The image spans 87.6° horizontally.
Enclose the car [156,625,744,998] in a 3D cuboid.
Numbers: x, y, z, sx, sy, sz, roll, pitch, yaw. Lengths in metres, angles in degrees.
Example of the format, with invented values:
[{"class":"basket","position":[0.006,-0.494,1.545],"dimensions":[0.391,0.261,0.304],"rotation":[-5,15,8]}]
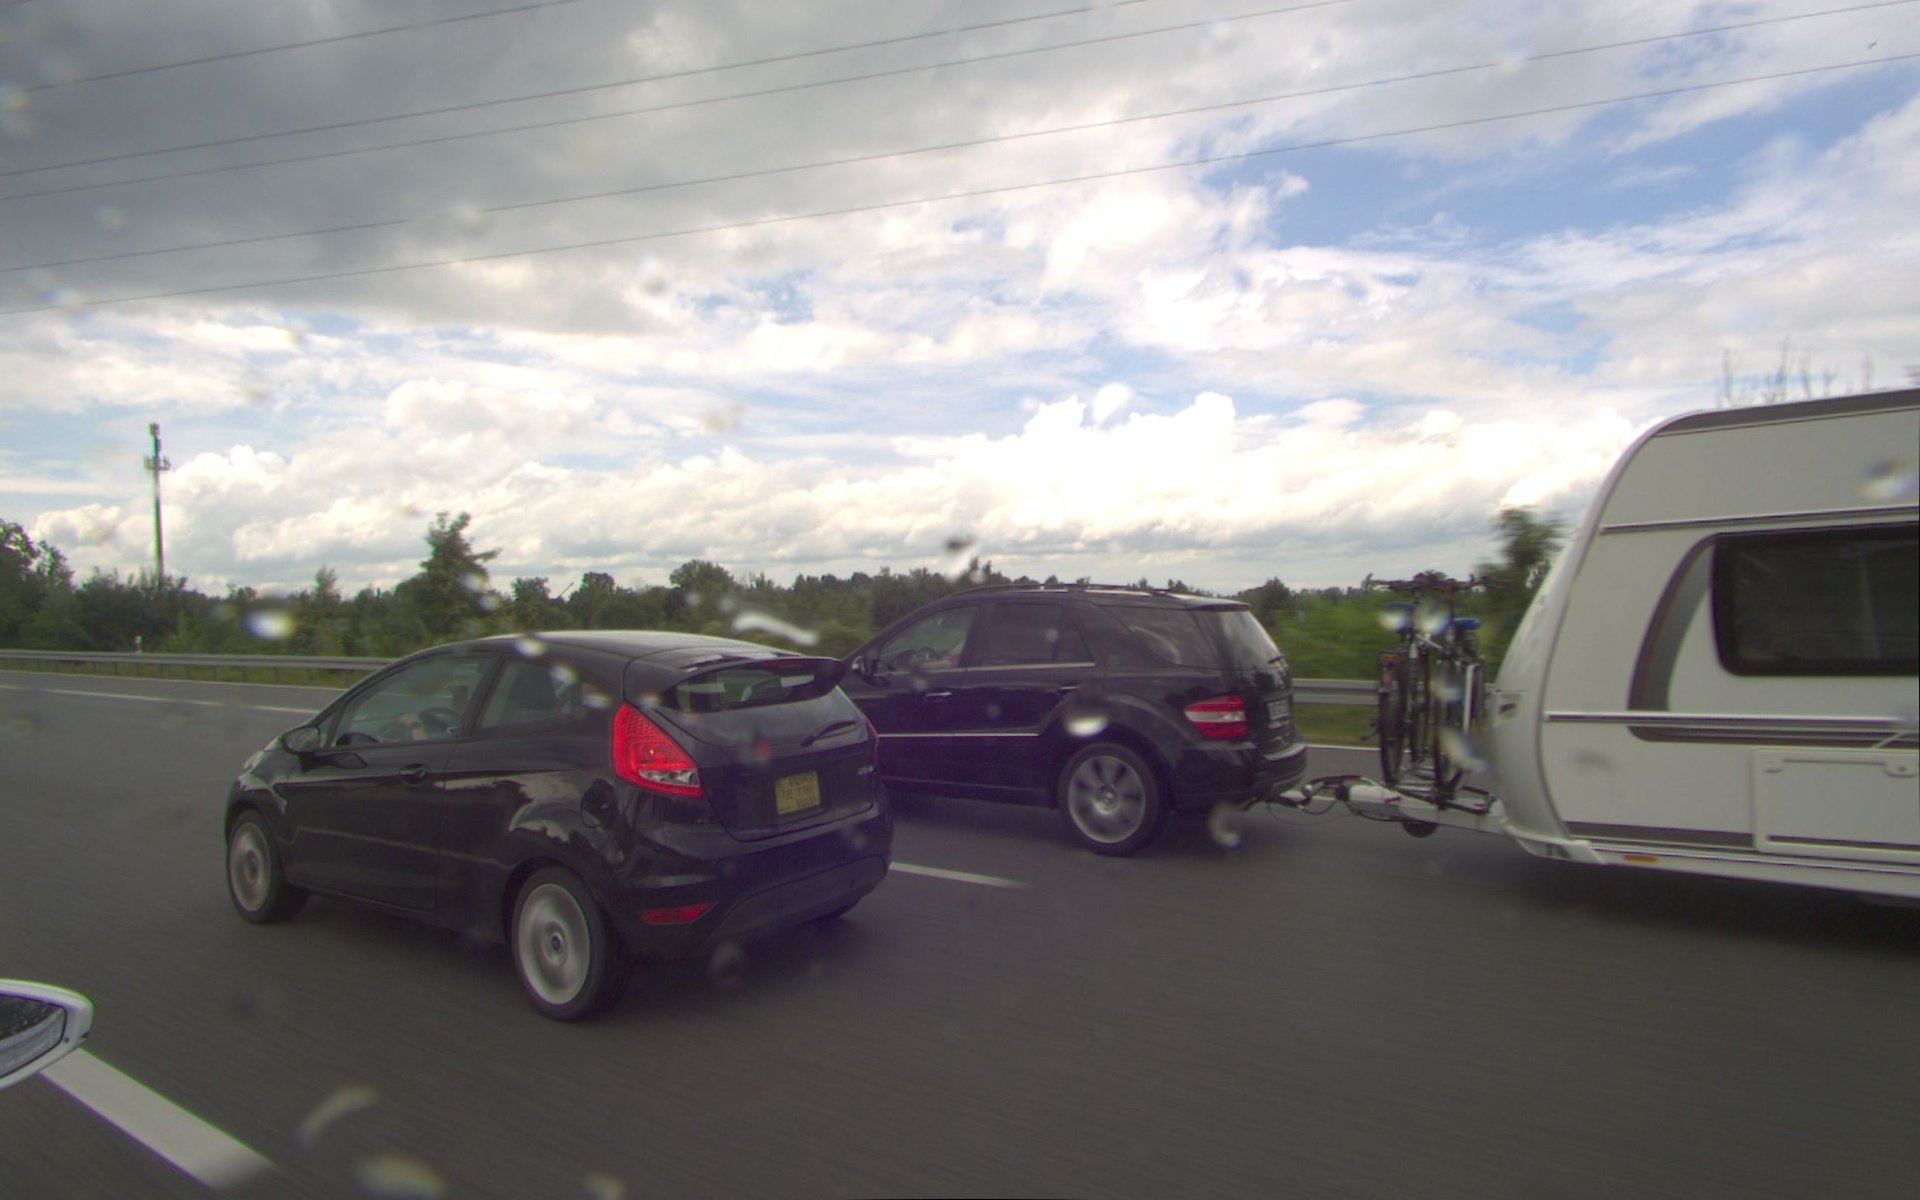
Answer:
[{"class":"car","position":[-2.804,0.867,5.379],"dimensions":[3.118,1.460,1.444],"rotation":[-1,-1,32]}]

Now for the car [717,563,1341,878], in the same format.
[{"class":"car","position":[0.426,0.752,7.719],"dimensions":[4.437,1.799,1.917],"rotation":[-1,-1,31]}]

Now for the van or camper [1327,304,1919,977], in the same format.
[{"class":"van or camper","position":[5.603,0.176,4.514],"dimensions":[7.104,2.773,2.381],"rotation":[-1,-2,31]}]
